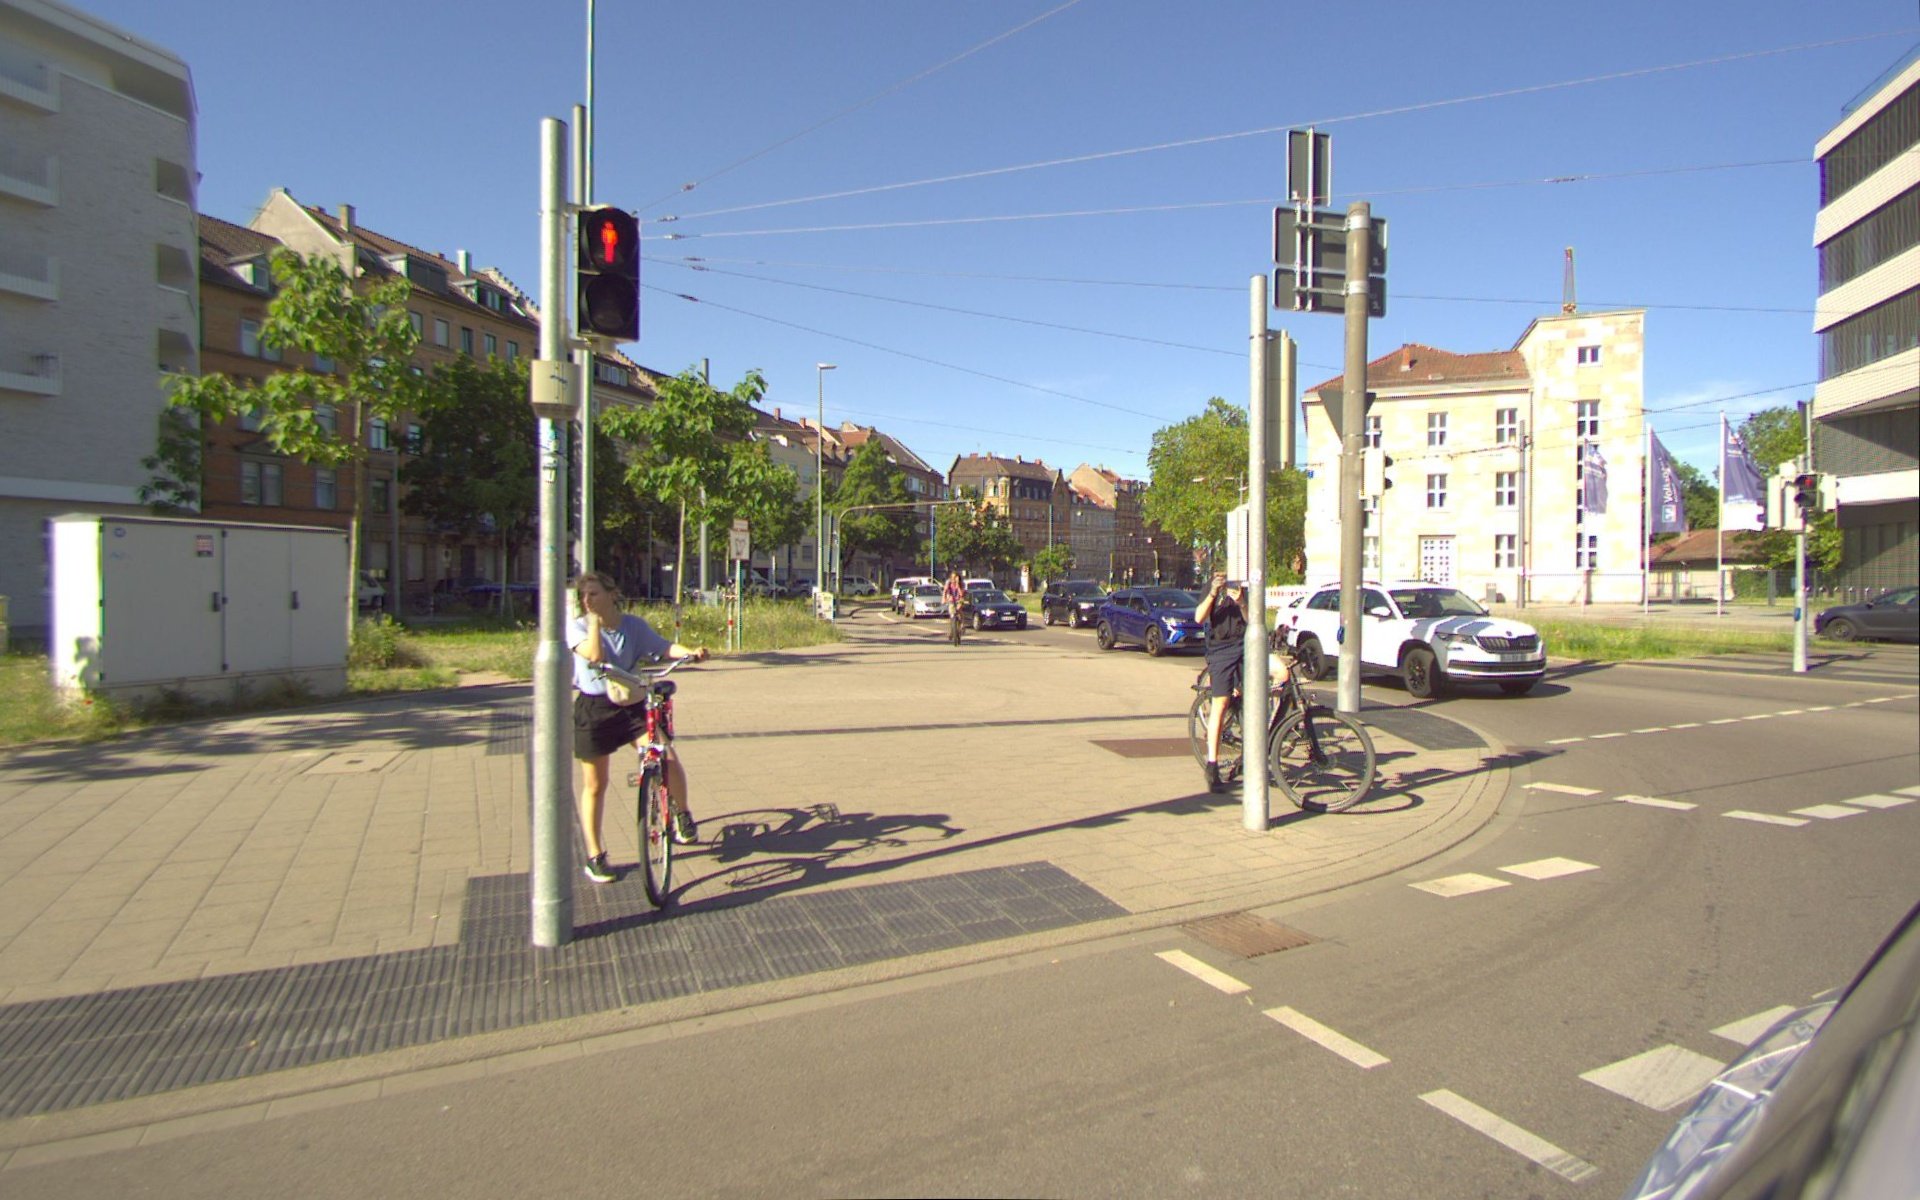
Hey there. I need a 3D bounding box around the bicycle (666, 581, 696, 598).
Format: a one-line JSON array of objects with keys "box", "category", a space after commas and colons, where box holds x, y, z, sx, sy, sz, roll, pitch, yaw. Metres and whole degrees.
[{"box": [-17.309, -0.642, 62.751, 1.732, 1.037, 0.451, 0, 1, 8], "category": "bicycle"}]

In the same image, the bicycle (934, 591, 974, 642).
[{"box": [-0.131, 0.384, 24.749, 0.685, 1.118, 2.008, 2, 2, 8], "category": "bicycle"}]

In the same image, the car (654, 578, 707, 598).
[{"box": [-19.154, -0.838, 69.388, 3.392, 1.349, 1.736, -1, 1, -16], "category": "car"}]

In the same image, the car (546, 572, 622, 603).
[{"box": [-21.433, -0.737, 57.823, 3.916, 1.682, 2.004, -1, 1, -16], "category": "car"}]

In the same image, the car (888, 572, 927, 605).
[{"box": [-3.246, -0.727, 63.634, 1.842, 2.006, 4.649, 0, 1, 5], "category": "car"}]

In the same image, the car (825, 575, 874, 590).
[{"box": [-9.831, -1.568, 90.125, 4.312, 1.249, 2.003, 0, 1, -6], "category": "car"}]

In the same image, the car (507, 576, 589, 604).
[{"box": [-22.477, -0.554, 55.351, 3.916, 1.482, 2.004, -1, 1, -16], "category": "car"}]

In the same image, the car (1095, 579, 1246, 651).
[{"box": [4.968, 0.277, 24.462, 1.835, 1.575, 4.009, -1, 1, -18], "category": "car"}]

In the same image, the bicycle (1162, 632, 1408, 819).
[{"box": [2.278, 0.829, 7.391, 0.594, 1.050, 1.900, 1, 2, -23], "category": "bicycle"}]

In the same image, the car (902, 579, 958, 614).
[{"box": [-1.475, -0.188, 48.025, 1.835, 1.575, 4.009, 0, 1, -14], "category": "car"}]

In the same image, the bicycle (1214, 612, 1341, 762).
[{"box": [2.882, 0.733, 9.392, 0.684, 1.118, 2.009, 2, 2, 5], "category": "bicycle"}]

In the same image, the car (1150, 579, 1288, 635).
[{"box": [7.435, 0.139, 29.559, 1.803, 1.448, 4.494, -2, 2, -17], "category": "car"}]

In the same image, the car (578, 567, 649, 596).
[{"box": [-20.873, -1.140, 61.081, 3.916, 1.682, 2.004, -1, 1, -16], "category": "car"}]

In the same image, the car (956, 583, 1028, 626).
[{"box": [1.086, 0.122, 36.401, 1.553, 1.451, 3.846, -1, 1, -15], "category": "car"}]

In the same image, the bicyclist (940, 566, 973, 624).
[{"box": [-0.087, -0.142, 24.968, 0.685, 1.394, 0.736, 2, 2, 8], "category": "bicyclist"}]

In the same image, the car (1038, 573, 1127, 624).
[{"box": [4.397, -0.094, 37.062, 1.732, 1.705, 4.337, -2, 2, -14], "category": "car"}]

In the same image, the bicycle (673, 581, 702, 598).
[{"box": [-17.162, -0.670, 63.689, 1.732, 1.037, 0.451, 0, 1, 8], "category": "bicycle"}]

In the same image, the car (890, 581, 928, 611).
[{"box": [-2.889, -0.256, 56.584, 1.837, 1.575, 4.006, 0, 1, -8], "category": "car"}]

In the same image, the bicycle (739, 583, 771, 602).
[{"box": [-11.413, -0.415, 56.437, 1.733, 1.037, 0.567, -1, 1, -45], "category": "bicycle"}]

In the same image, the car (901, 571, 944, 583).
[{"box": [-4.048, -2.471, 109.596, 4.308, 1.225, 2.004, -1, 1, -16], "category": "car"}]

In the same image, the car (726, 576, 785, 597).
[{"box": [-15.851, -1.053, 78.462, 4.308, 1.525, 2.004, -1, 1, -16], "category": "car"}]

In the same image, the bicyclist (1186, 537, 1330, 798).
[{"box": [2.206, 0.456, 7.573, 0.538, 1.820, 0.908, 1, 1, -23], "category": "bicyclist"}]

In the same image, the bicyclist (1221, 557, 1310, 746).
[{"box": [2.853, 0.442, 9.527, 0.585, 1.674, 1.002, 1, 2, 5], "category": "bicyclist"}]

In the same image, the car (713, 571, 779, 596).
[{"box": [-15.940, -1.219, 75.439, 4.693, 1.793, 1.736, -1, 1, -16], "category": "car"}]

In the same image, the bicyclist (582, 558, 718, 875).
[{"box": [-1.535, 0.510, 5.004, 0.577, 1.421, 0.829, 1, 1, -18], "category": "bicyclist"}]

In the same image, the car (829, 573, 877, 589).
[{"box": [-9.845, -1.740, 93.041, 4.312, 1.479, 2.003, 0, 1, -6], "category": "car"}]

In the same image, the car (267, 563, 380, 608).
[{"box": [-32.285, -0.750, 51.485, 1.976, 2.139, 4.611, 0, 1, 21], "category": "car"}]

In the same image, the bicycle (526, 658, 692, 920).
[{"box": [-1.798, 0.866, 5.272, 0.682, 0.966, 1.712, 1, 2, -18], "category": "bicycle"}]

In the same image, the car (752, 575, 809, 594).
[{"box": [-14.393, -1.248, 81.167, 4.308, 1.479, 2.004, -1, 1, -16], "category": "car"}]

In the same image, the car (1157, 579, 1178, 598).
[{"box": [19.981, -1.117, 97.408, 1.745, 1.771, 3.981, 0, 1, 15], "category": "car"}]

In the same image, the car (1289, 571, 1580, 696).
[{"box": [7.147, 0.399, 15.840, 1.836, 1.650, 4.347, -1, 1, -12], "category": "car"}]

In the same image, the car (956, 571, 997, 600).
[{"box": [0.869, -0.810, 56.002, 1.837, 1.575, 4.005, 0, 1, -6], "category": "car"}]

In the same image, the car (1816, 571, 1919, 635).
[{"box": [23.477, 0.062, 24.096, 1.958, 1.518, 4.319, -1, 1, -20], "category": "car"}]

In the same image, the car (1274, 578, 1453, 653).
[{"box": [8.994, 0.287, 22.886, 1.635, 1.448, 3.844, -4, 2, -18], "category": "car"}]
